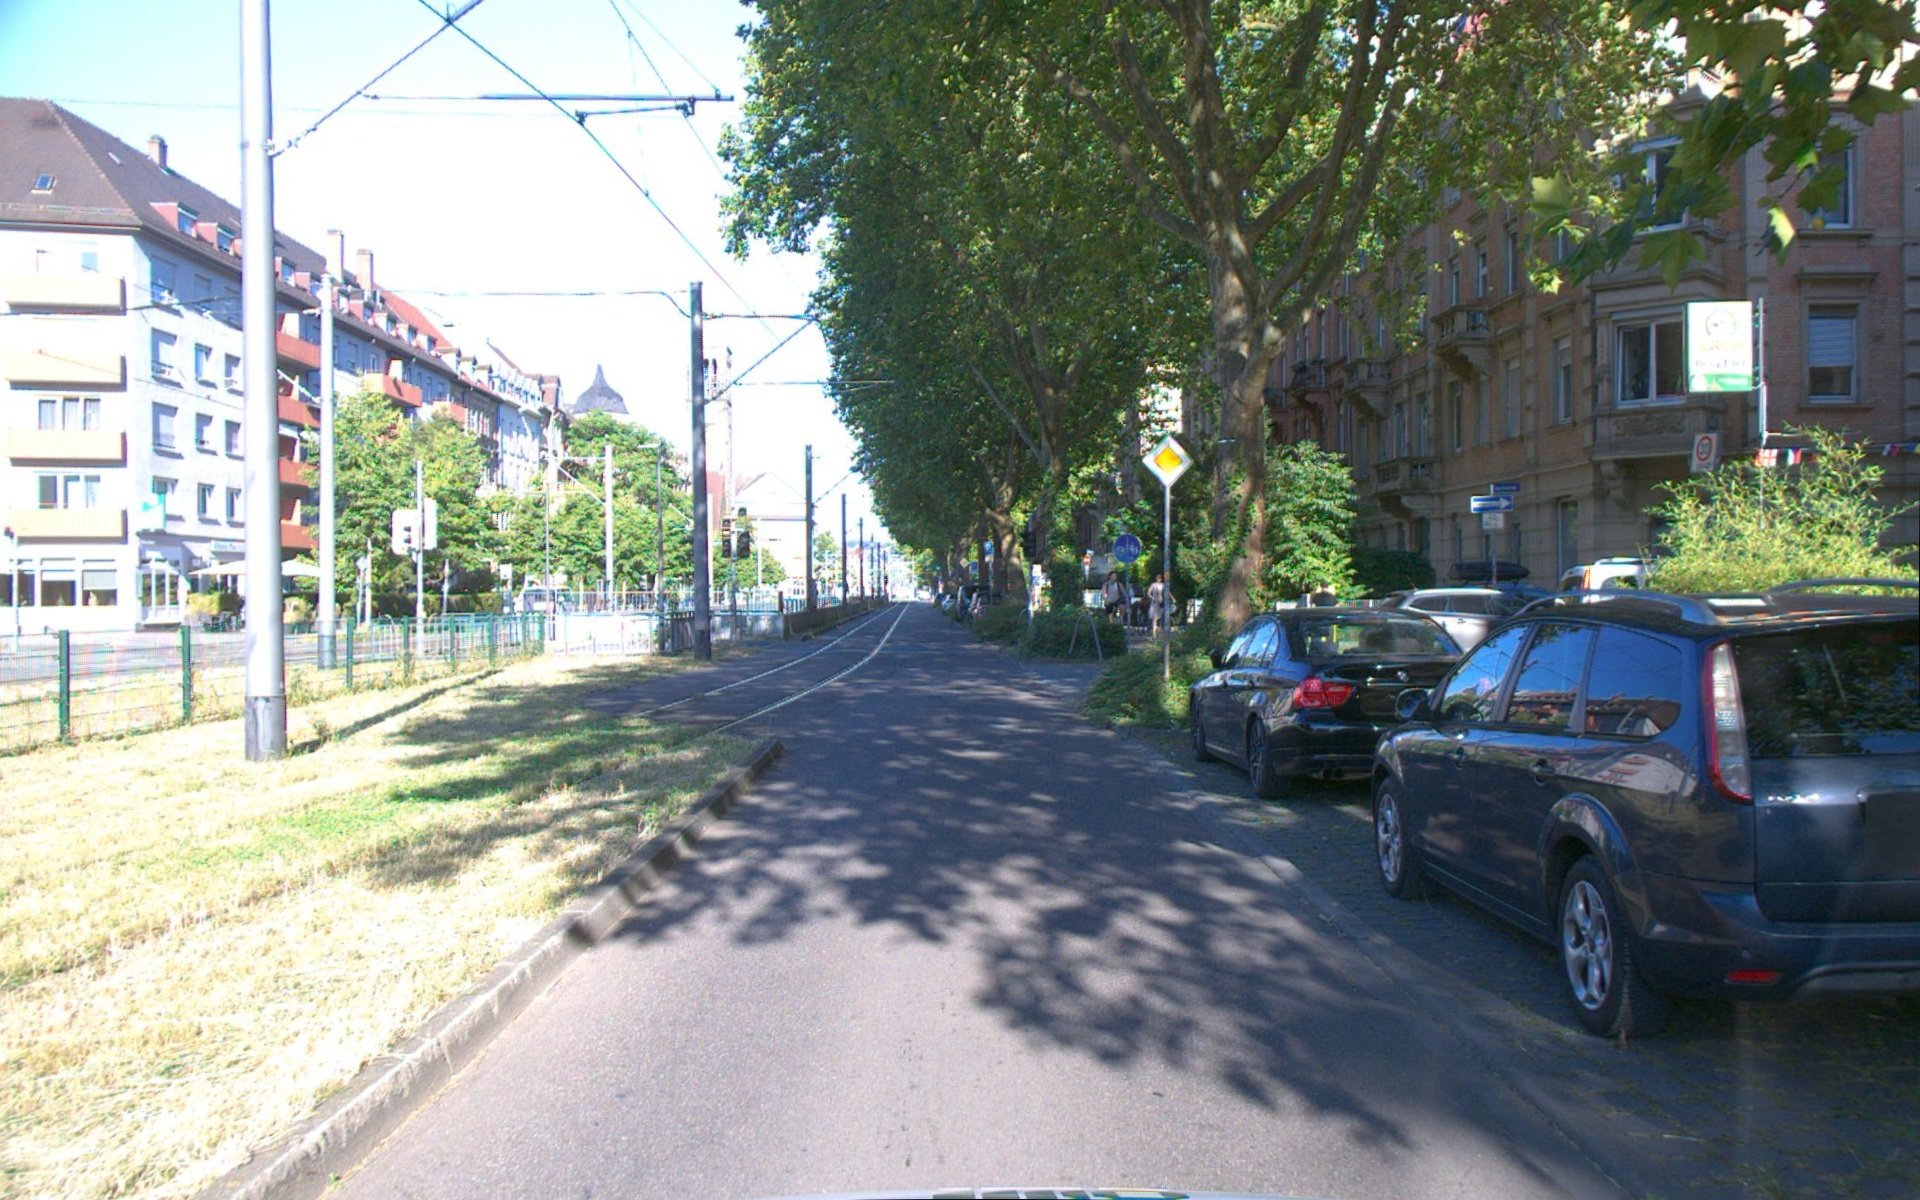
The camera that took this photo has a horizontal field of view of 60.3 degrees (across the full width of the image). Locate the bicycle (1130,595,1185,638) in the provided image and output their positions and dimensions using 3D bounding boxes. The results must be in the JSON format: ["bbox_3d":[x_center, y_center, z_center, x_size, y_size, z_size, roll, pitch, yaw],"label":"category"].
[{"bbox_3d":[5.184,0.422,43.636,0.799,0.973,2.312,-2,3,-10],"label":"bicycle"}]

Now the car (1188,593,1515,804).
[{"bbox_3d":[3.015,0.675,13.603,1.610,1.397,4.182,-2,1,-1],"label":"car"}]

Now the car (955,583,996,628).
[{"bbox_3d":[0.757,0.299,83.978,1.953,2.144,3.999,1,-1,-1],"label":"car"}]

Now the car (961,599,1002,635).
[{"bbox_3d":[0.946,0.791,75.162,1.758,1.537,3.999,1,-1,-1],"label":"car"}]

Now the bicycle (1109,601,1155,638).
[{"bbox_3d":[5.269,0.590,50.866,0.799,0.973,2.312,-2,3,-10],"label":"bicycle"}]

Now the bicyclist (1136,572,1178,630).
[{"bbox_3d":[5.185,0.014,43.578,0.799,1.429,1.078,-2,3,-10],"label":"bicyclist"}]

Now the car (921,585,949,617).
[{"bbox_3d":[-1.761,0.079,116.455,1.953,2.144,3.999,1,-1,-1],"label":"car"}]

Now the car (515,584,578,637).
[{"bbox_3d":[-18.206,0.417,72.960,1.954,2.048,3.998,-2,3,-4],"label":"car"}]

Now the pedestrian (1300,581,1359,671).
[{"bbox_3d":[7.451,0.506,33.387,0.799,1.718,1.078,-2,3,-10],"label":"pedestrian"}]

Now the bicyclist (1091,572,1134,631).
[{"bbox_3d":[3.893,0.031,42.287,0.799,1.429,1.078,-2,3,-10],"label":"bicyclist"}]

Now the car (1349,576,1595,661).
[{"bbox_3d":[9.466,0.326,30.791,3.909,1.445,1.998,-1,0,-5],"label":"car"}]

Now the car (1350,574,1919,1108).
[{"bbox_3d":[2.990,0.685,6.988,1.610,1.537,4.182,-2,1,-1],"label":"car"}]

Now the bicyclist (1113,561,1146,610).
[{"bbox_3d":[5.211,-0.447,50.838,0.799,1.429,0.823,-2,3,-10],"label":"bicyclist"}]

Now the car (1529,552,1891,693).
[{"bbox_3d":[11.823,0.330,26.265,4.886,2.049,1.998,-1,0,-5],"label":"car"}]

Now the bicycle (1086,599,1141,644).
[{"bbox_3d":[3.908,0.526,42.276,0.799,0.973,2.312,-2,3,-10],"label":"bicycle"}]
